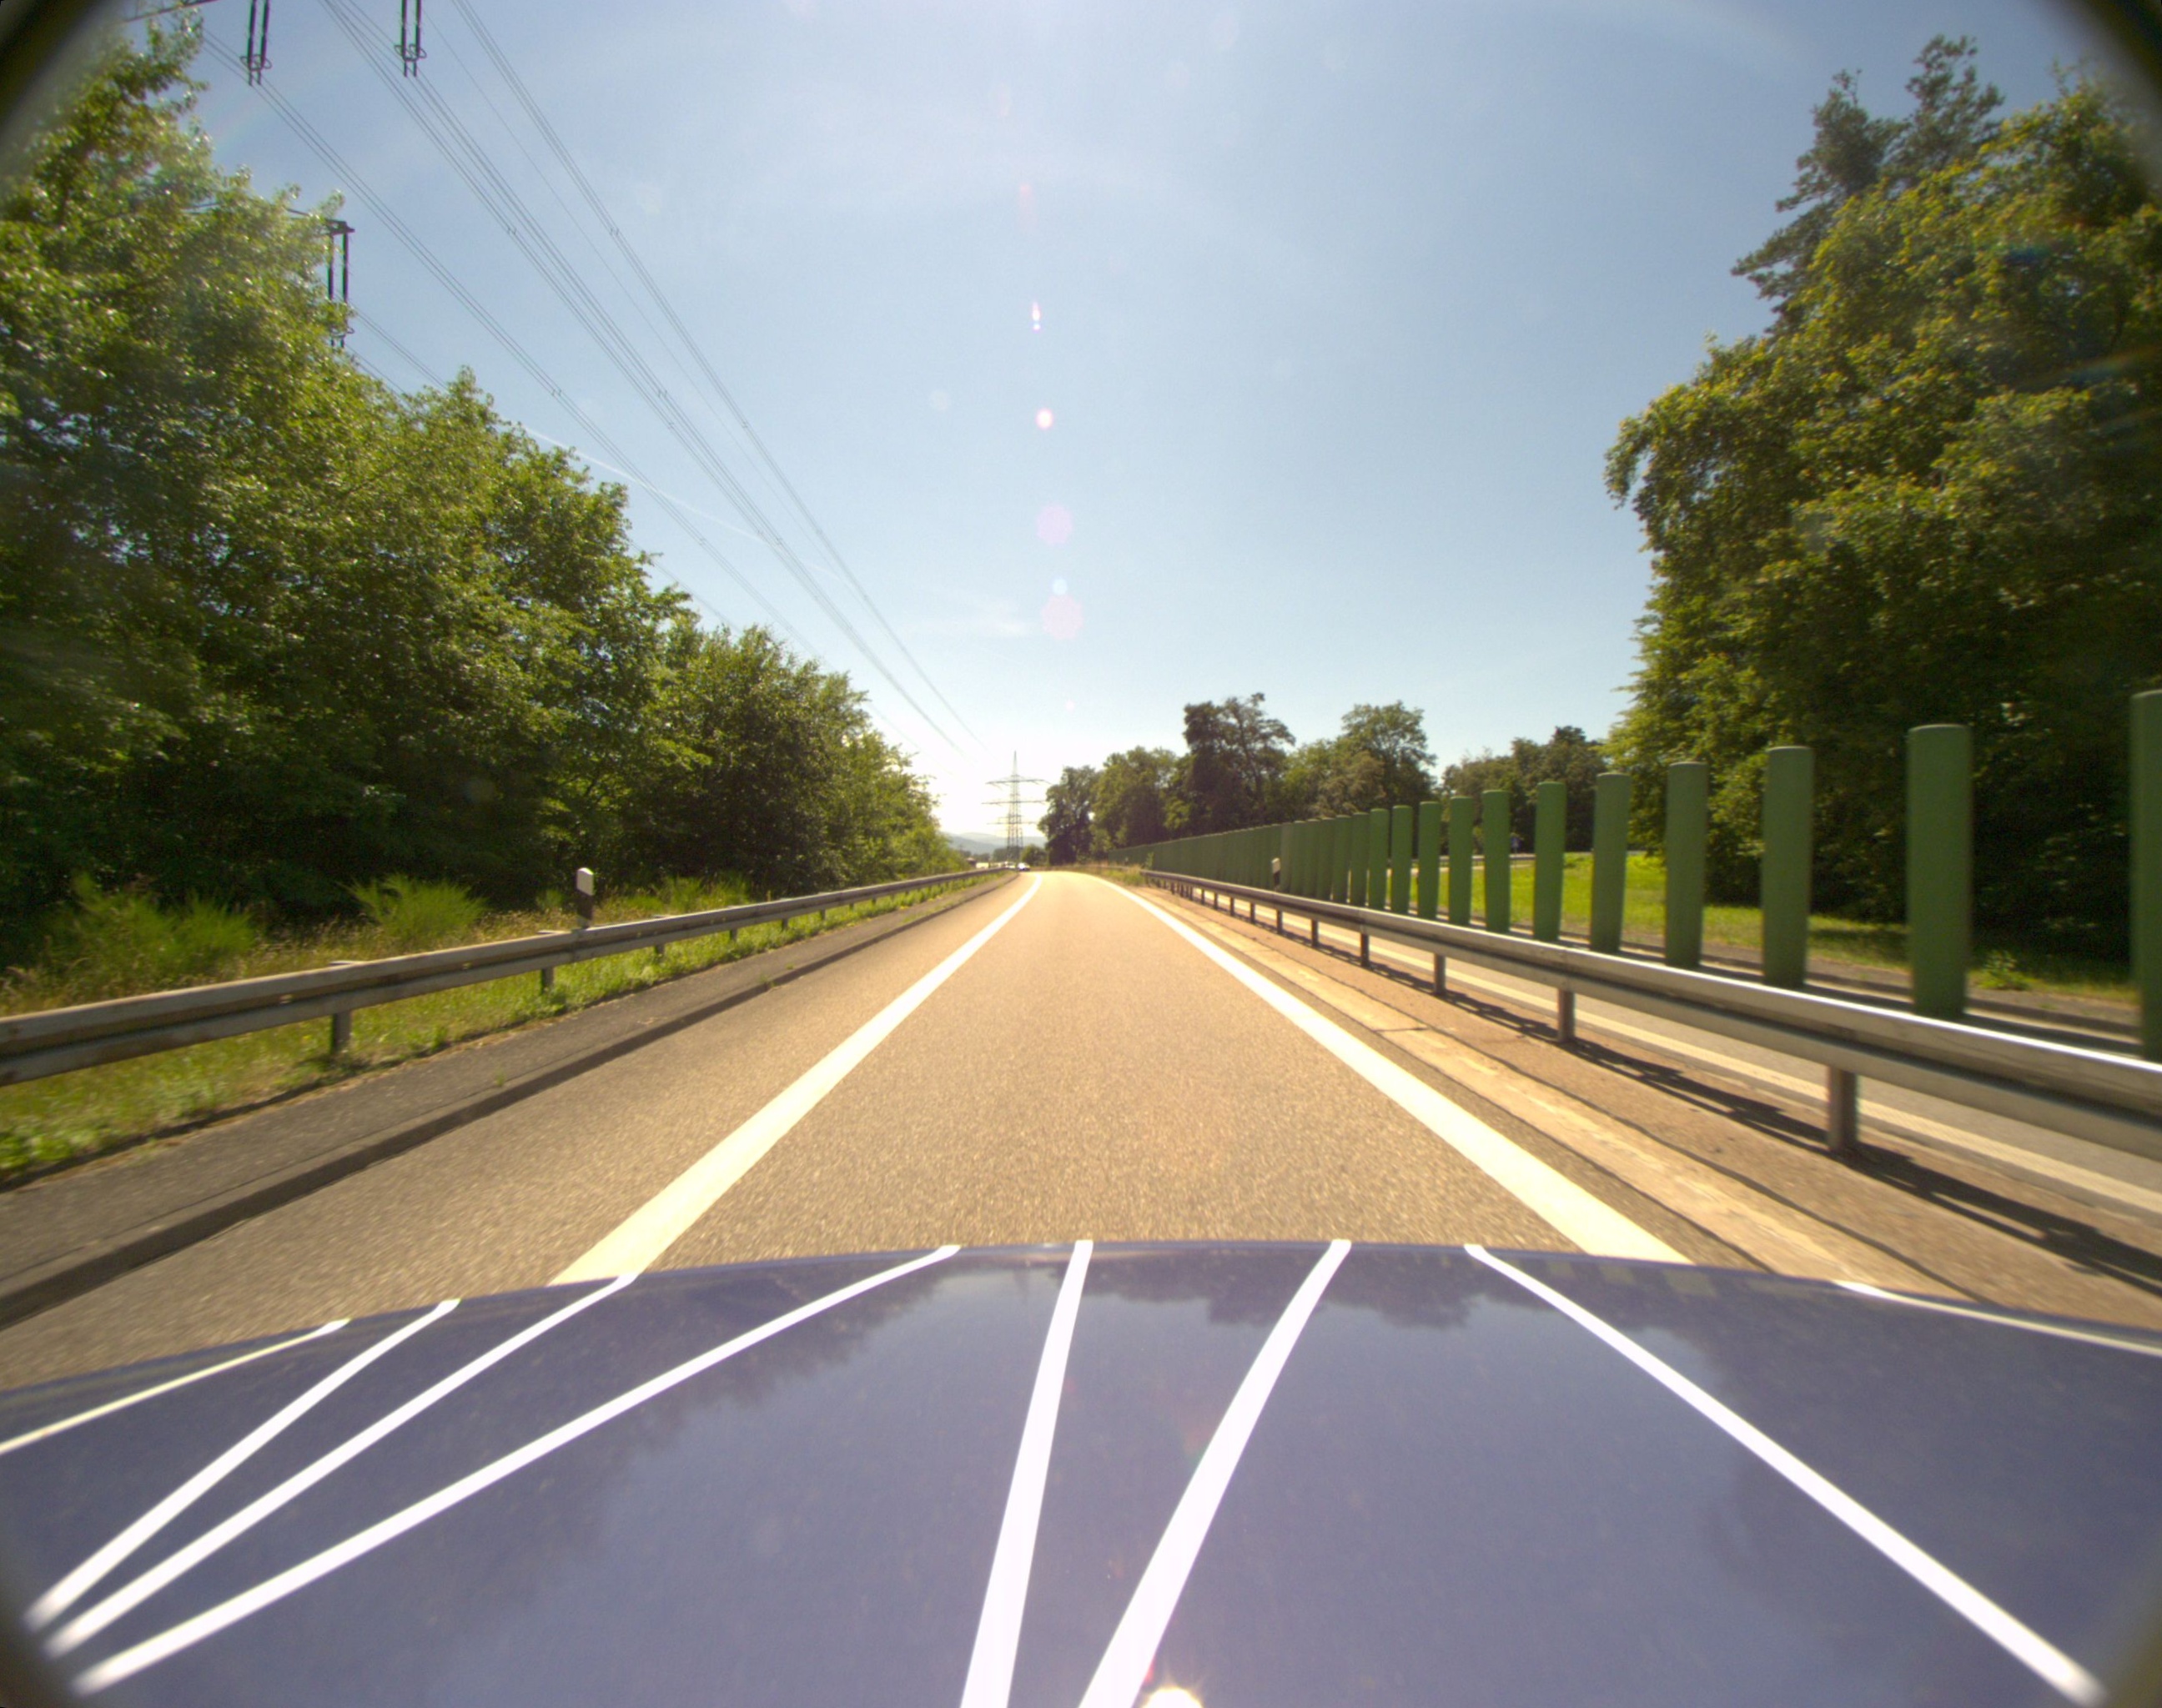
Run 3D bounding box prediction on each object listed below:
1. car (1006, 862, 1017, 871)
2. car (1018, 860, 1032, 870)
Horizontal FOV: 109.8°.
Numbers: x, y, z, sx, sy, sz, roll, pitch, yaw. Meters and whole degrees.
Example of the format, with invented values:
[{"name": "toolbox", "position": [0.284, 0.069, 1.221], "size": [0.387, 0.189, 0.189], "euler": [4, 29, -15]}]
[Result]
[{"name": "car", "position": [-13.241, 2.300, 144.873], "size": [2.000, 1.674, 3.998], "euler": [-1, 0, -8]}, {"name": "car", "position": [-9.562, 1.910, 129.619], "size": [2.000, 1.674, 3.998], "euler": [-1, 0, -8]}]
